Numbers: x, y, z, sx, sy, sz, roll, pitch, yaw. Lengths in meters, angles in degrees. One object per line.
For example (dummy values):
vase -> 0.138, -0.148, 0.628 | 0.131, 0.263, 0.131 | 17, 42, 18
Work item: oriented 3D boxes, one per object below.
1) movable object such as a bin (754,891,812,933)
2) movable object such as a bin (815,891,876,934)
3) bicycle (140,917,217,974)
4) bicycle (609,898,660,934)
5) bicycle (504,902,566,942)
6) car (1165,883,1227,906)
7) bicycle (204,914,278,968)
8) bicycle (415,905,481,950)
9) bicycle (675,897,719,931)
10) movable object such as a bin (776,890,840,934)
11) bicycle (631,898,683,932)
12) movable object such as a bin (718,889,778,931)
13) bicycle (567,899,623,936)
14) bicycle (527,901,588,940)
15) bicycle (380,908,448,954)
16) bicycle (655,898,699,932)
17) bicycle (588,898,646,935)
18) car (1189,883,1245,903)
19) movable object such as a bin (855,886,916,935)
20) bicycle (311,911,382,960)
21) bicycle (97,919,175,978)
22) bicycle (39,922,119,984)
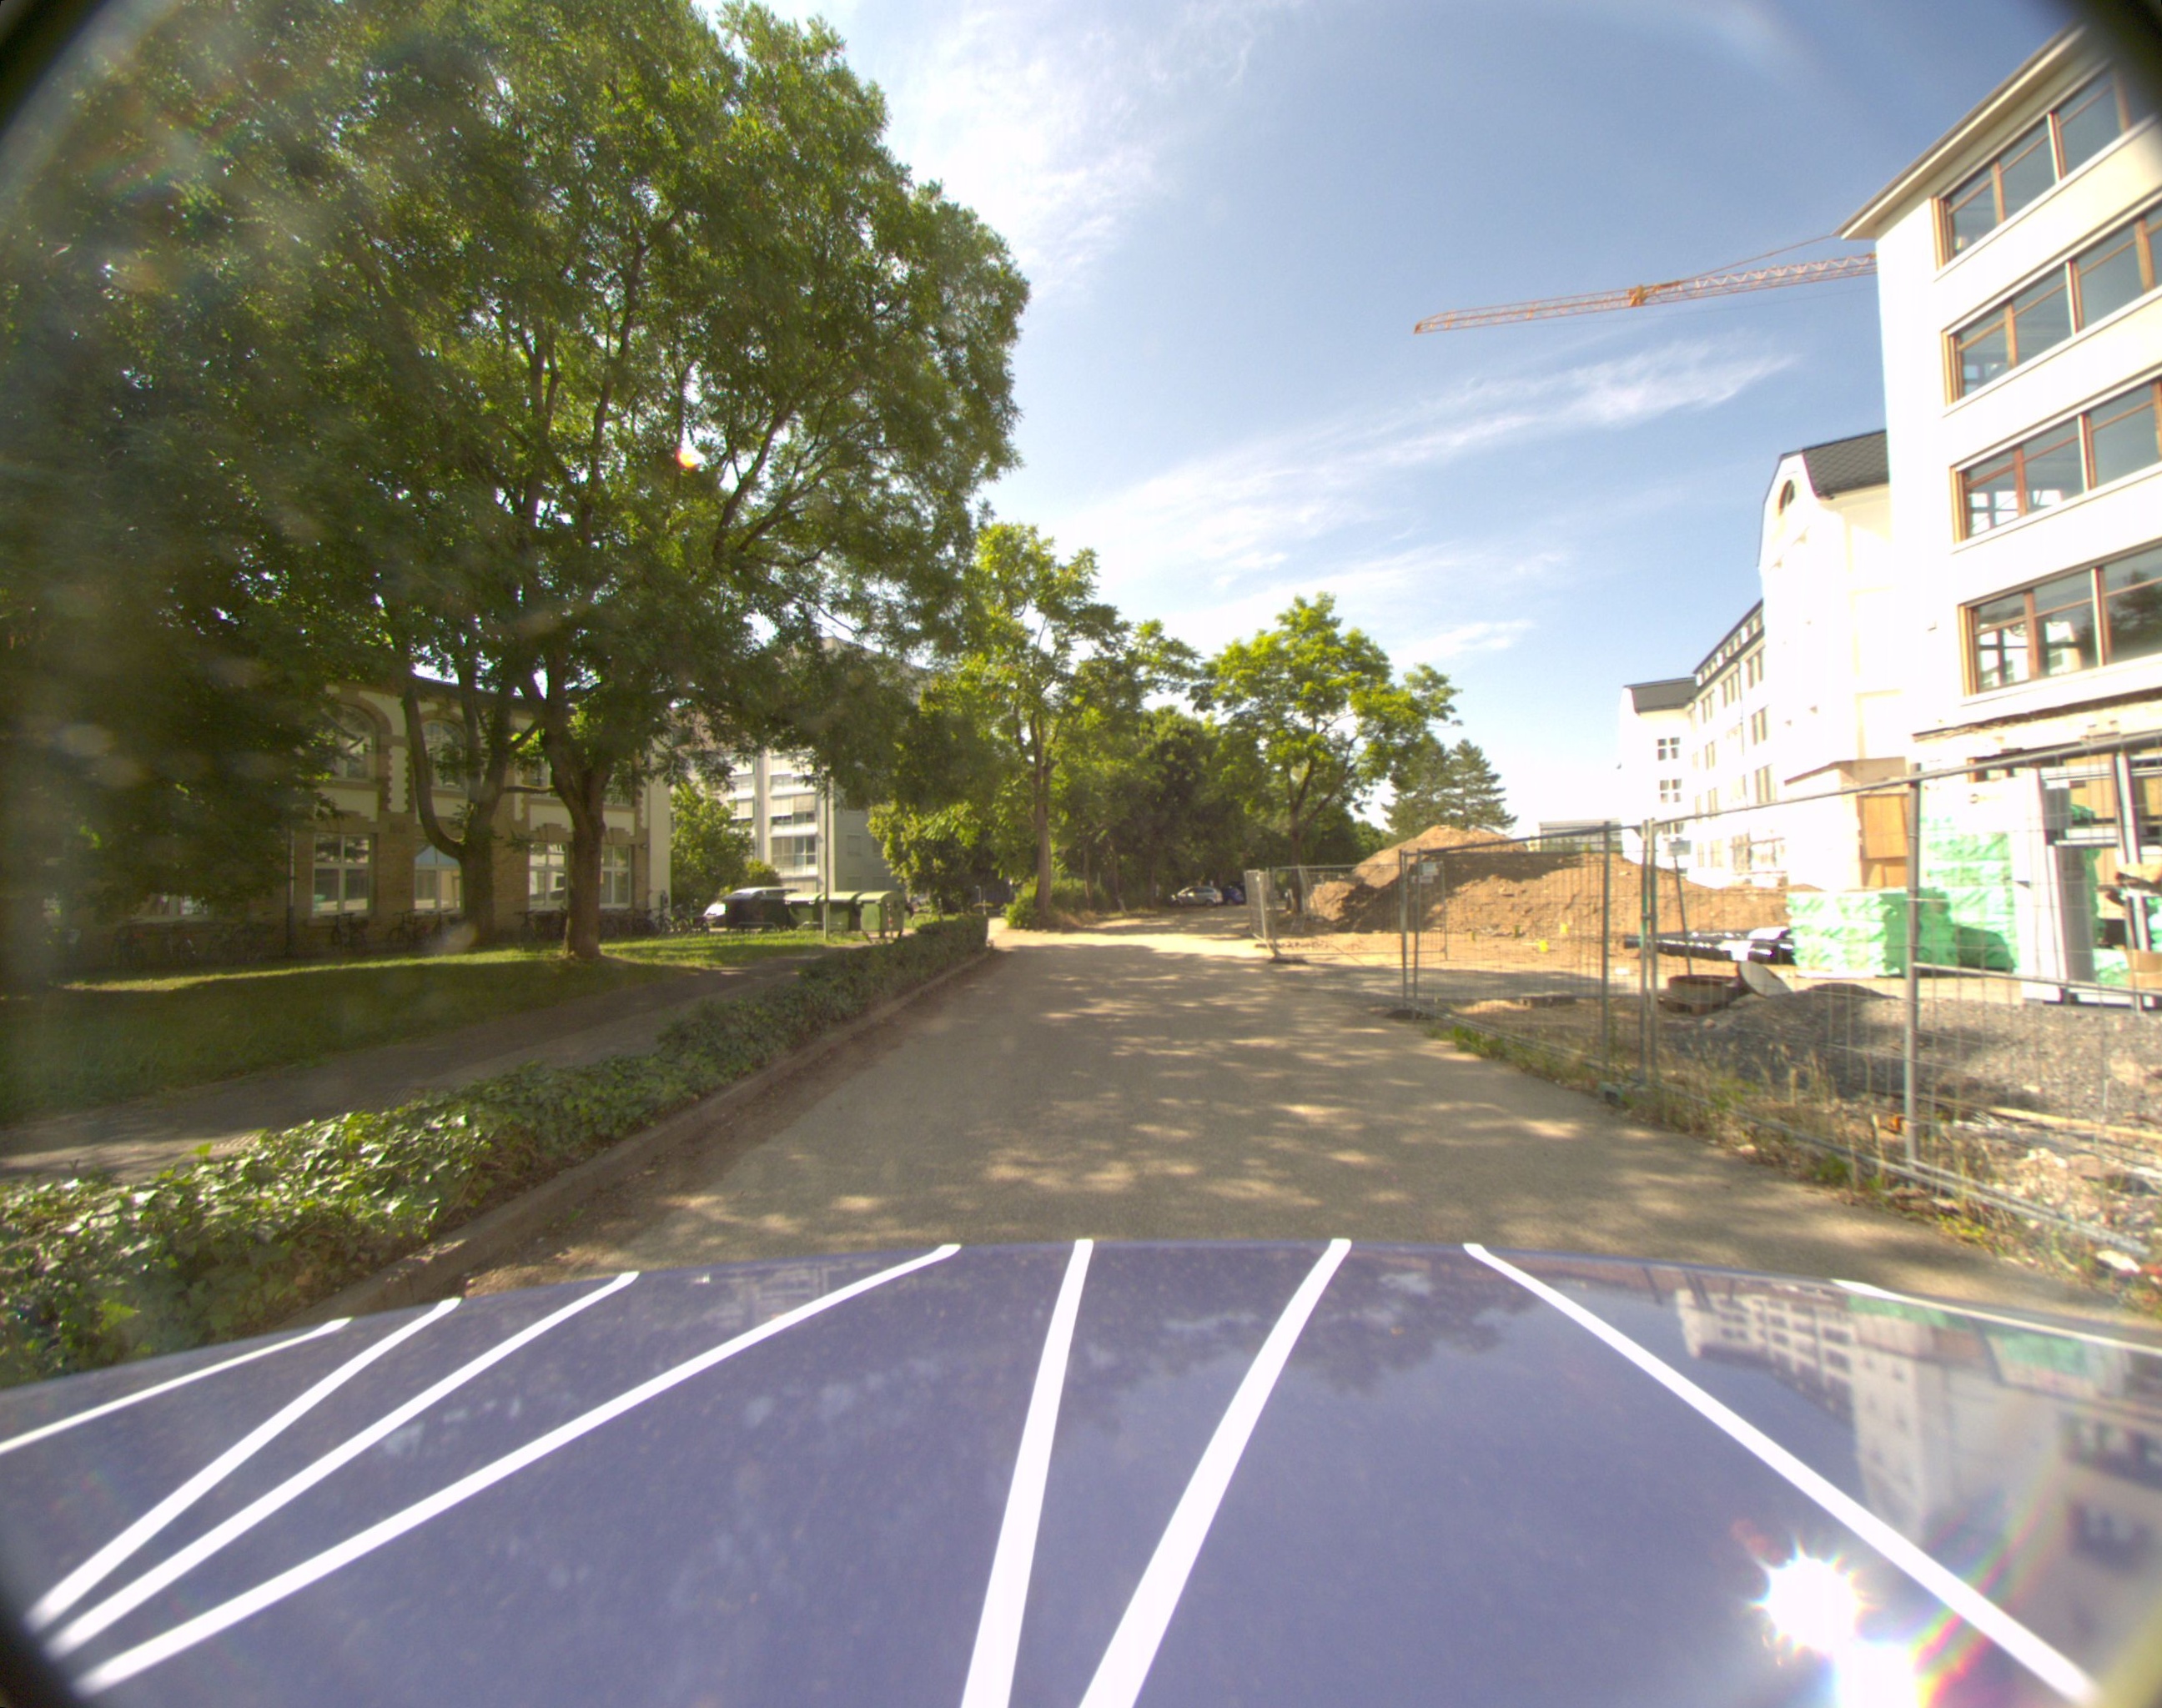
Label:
movable object such as a bin -> -10.081, 1.950, 25.758 | 1.349, 1.341, 1.217 | -2, -2, 23
movable object such as a bin -> -7.483, 1.845, 24.177 | 1.352, 1.292, 1.217 | -2, -2, 23
bicycle -> -19.835, 1.979, 16.691 | 2.097, 1.154, 0.589 | -2, -2, 26
bicycle -> -15.094, 2.091, 25.657 | 1.909, 1.154, 0.495 | -2, -2, 26
bicycle -> -16.461, 2.042, 22.884 | 2.097, 1.154, 0.589 | -2, -2, 26
car -> 8.221, 2.886, 54.395 | 3.991, 1.498, 2.004 | -2, -2, 21
bicycle -> -19.365, 1.988, 17.500 | 2.097, 1.154, 0.589 | -2, -2, 26
bicycle -> -17.533, 2.022, 21.027 | 2.097, 1.154, 0.589 | -2, -2, 26
bicycle -> -13.849, 2.157, 27.391 | 1.940, 1.154, 0.558 | -3, -2, 36
movable object such as a bin -> -8.884, 1.889, 24.772 | 1.498, 1.353, 1.217 | -2, -2, 23
bicycle -> -14.759, 2.117, 26.455 | 1.846, 1.154, 0.614 | -2, -2, 26
movable object such as a bin -> -11.536, 1.938, 26.351 | 1.433, 1.401, 1.252 | -2, -2, 22
bicycle -> -15.635, 2.037, 24.447 | 1.917, 1.154, 0.589 | -2, -2, 26
bicycle -> -16.215, 2.042, 23.511 | 2.097, 1.154, 0.589 | -2, -2, 26
bicycle -> -17.844, 2.035, 20.314 | 2.097, 1.154, 0.589 | -2, -2, 26
bicycle -> -14.333, 2.167, 26.967 | 1.800, 1.154, 0.508 | -2, -2, 31
bicycle -> -15.367, 2.064, 25.151 | 2.097, 1.154, 0.589 | -2, -2, 26
car -> 10.605, 3.044, 59.246 | 3.991, 1.433, 2.004 | -2, -2, 21
movable object such as a bin -> -6.103, 1.736, 23.666 | 1.388, 1.453, 1.218 | -3, -2, 38
bicycle -> -18.481, 2.026, 19.106 | 2.097, 1.154, 0.589 | -2, -2, 26
bicycle -> -19.999, 1.976, 16.076 | 2.097, 1.154, 0.589 | -2, -2, 26
bicycle -> -20.329, 1.976, 15.411 | 2.097, 1.154, 0.589 | -2, -2, 26
